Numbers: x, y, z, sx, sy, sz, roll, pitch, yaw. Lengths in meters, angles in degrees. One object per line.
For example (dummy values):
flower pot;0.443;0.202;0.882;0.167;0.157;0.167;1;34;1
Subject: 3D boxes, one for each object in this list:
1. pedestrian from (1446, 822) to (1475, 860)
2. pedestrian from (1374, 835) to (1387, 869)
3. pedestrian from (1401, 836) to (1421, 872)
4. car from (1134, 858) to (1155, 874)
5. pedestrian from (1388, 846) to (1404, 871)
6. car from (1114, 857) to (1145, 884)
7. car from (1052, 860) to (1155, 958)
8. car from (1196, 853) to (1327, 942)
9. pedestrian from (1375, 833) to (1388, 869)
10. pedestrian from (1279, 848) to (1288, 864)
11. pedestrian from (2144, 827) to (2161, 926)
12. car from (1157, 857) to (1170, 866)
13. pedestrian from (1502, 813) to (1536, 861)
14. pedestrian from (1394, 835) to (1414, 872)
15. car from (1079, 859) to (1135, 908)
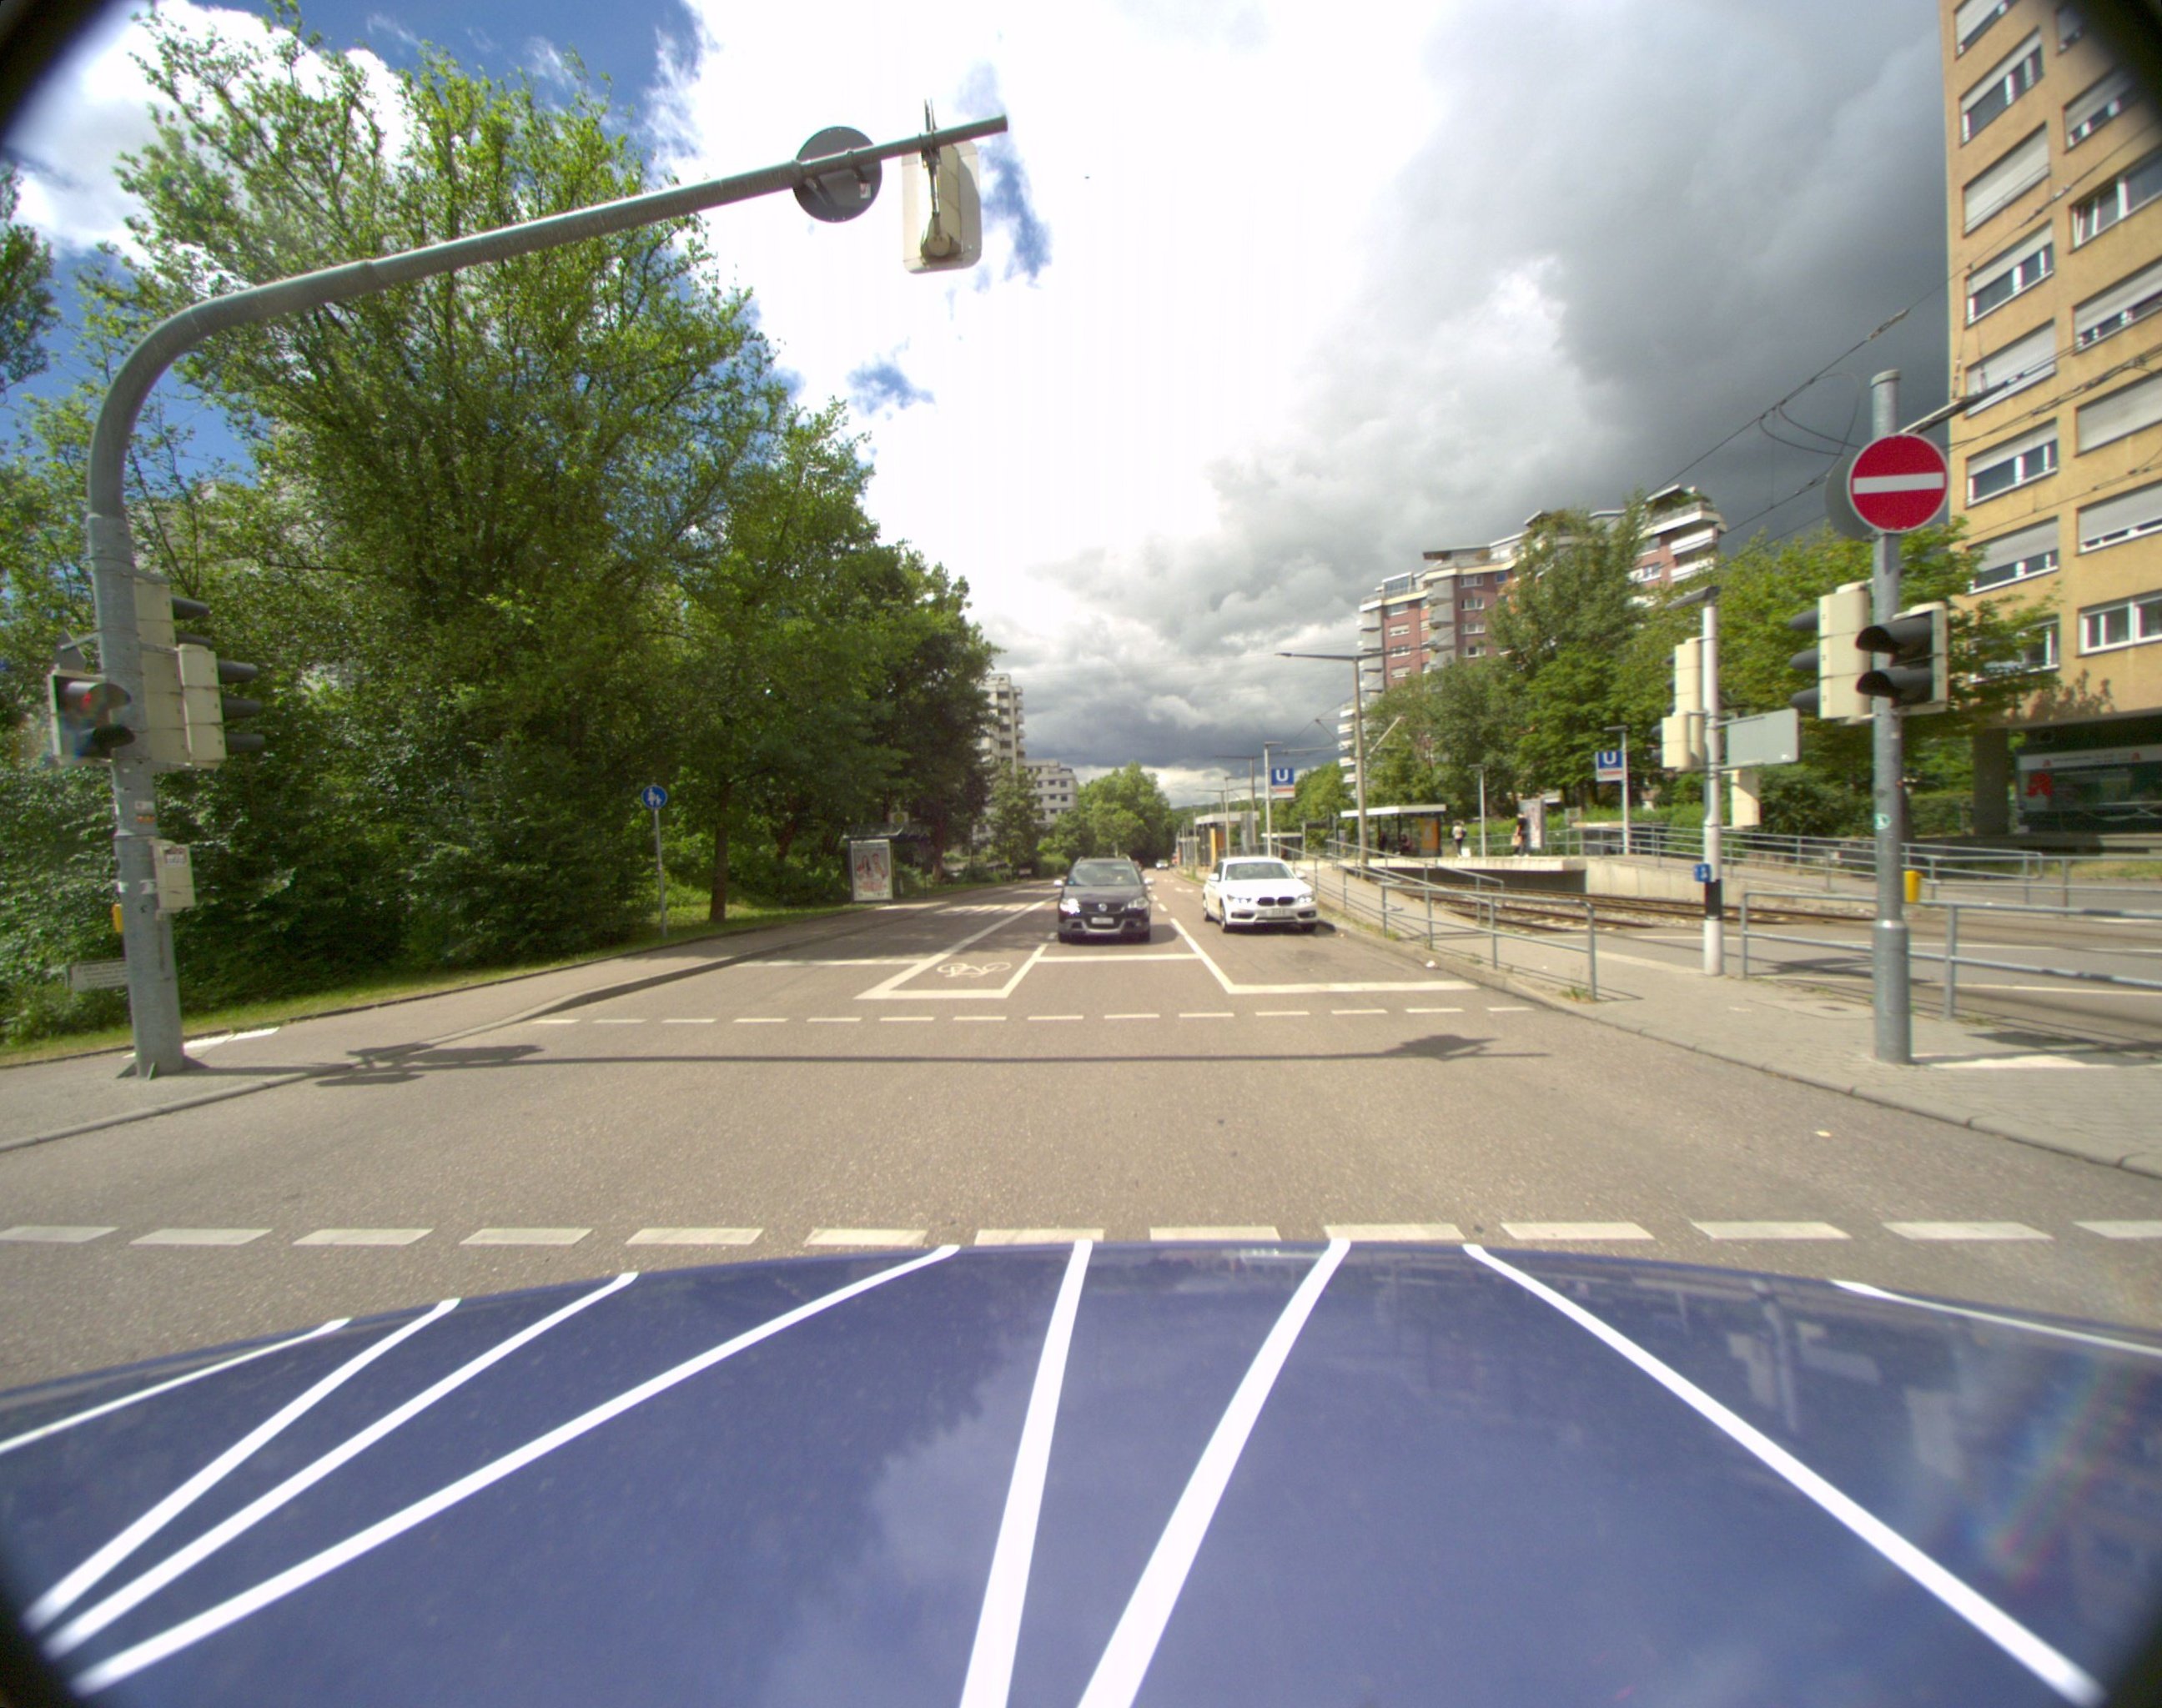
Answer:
pedestrian;16.582;-0.571;33.209;0.865;1.597;0.747;-2;1;2
pedestrian;18.171;-0.128;46.141;0.517;2.002;0.558;-2;1;3
pedestrian;17.742;-0.011;40.840;0.771;1.920;0.573;-2;1;1
car;6.018;1.095;71.218;1.845;1.409;4.001;-2;0;6
pedestrian;17.764;0.243;42.846;0.645;1.407;0.658;-2;1;3
car;3.029;1.032;48.306;1.845;1.553;4.000;-2;0;3
car;0.309;0.937;14.573;1.682;1.529;3.792;-2;0;-2
car;3.544;0.784;15.733;1.793;1.443;4.274;0;2;1
pedestrian;18.106;-0.166;45.734;0.532;2.129;0.608;-2;1;6
pedestrian;20.949;0.210;78.701;0.774;1.696;0.766;-2;1;11
pedestrian;18.039;0.346;12.136;0.720;1.588;0.911;-7;1;-2
car;12.019;1.086;111.134;1.805;1.208;4.023;-2;0;6
pedestrian;16.711;-0.644;28.996;0.865;1.763;0.747;-2;1;2
pedestrian;17.719;-0.045;41.687;0.780;2.002;0.584;-2;1;3
car;0.884;0.992;27.192;1.819;1.483;3.999;-2;1;0
